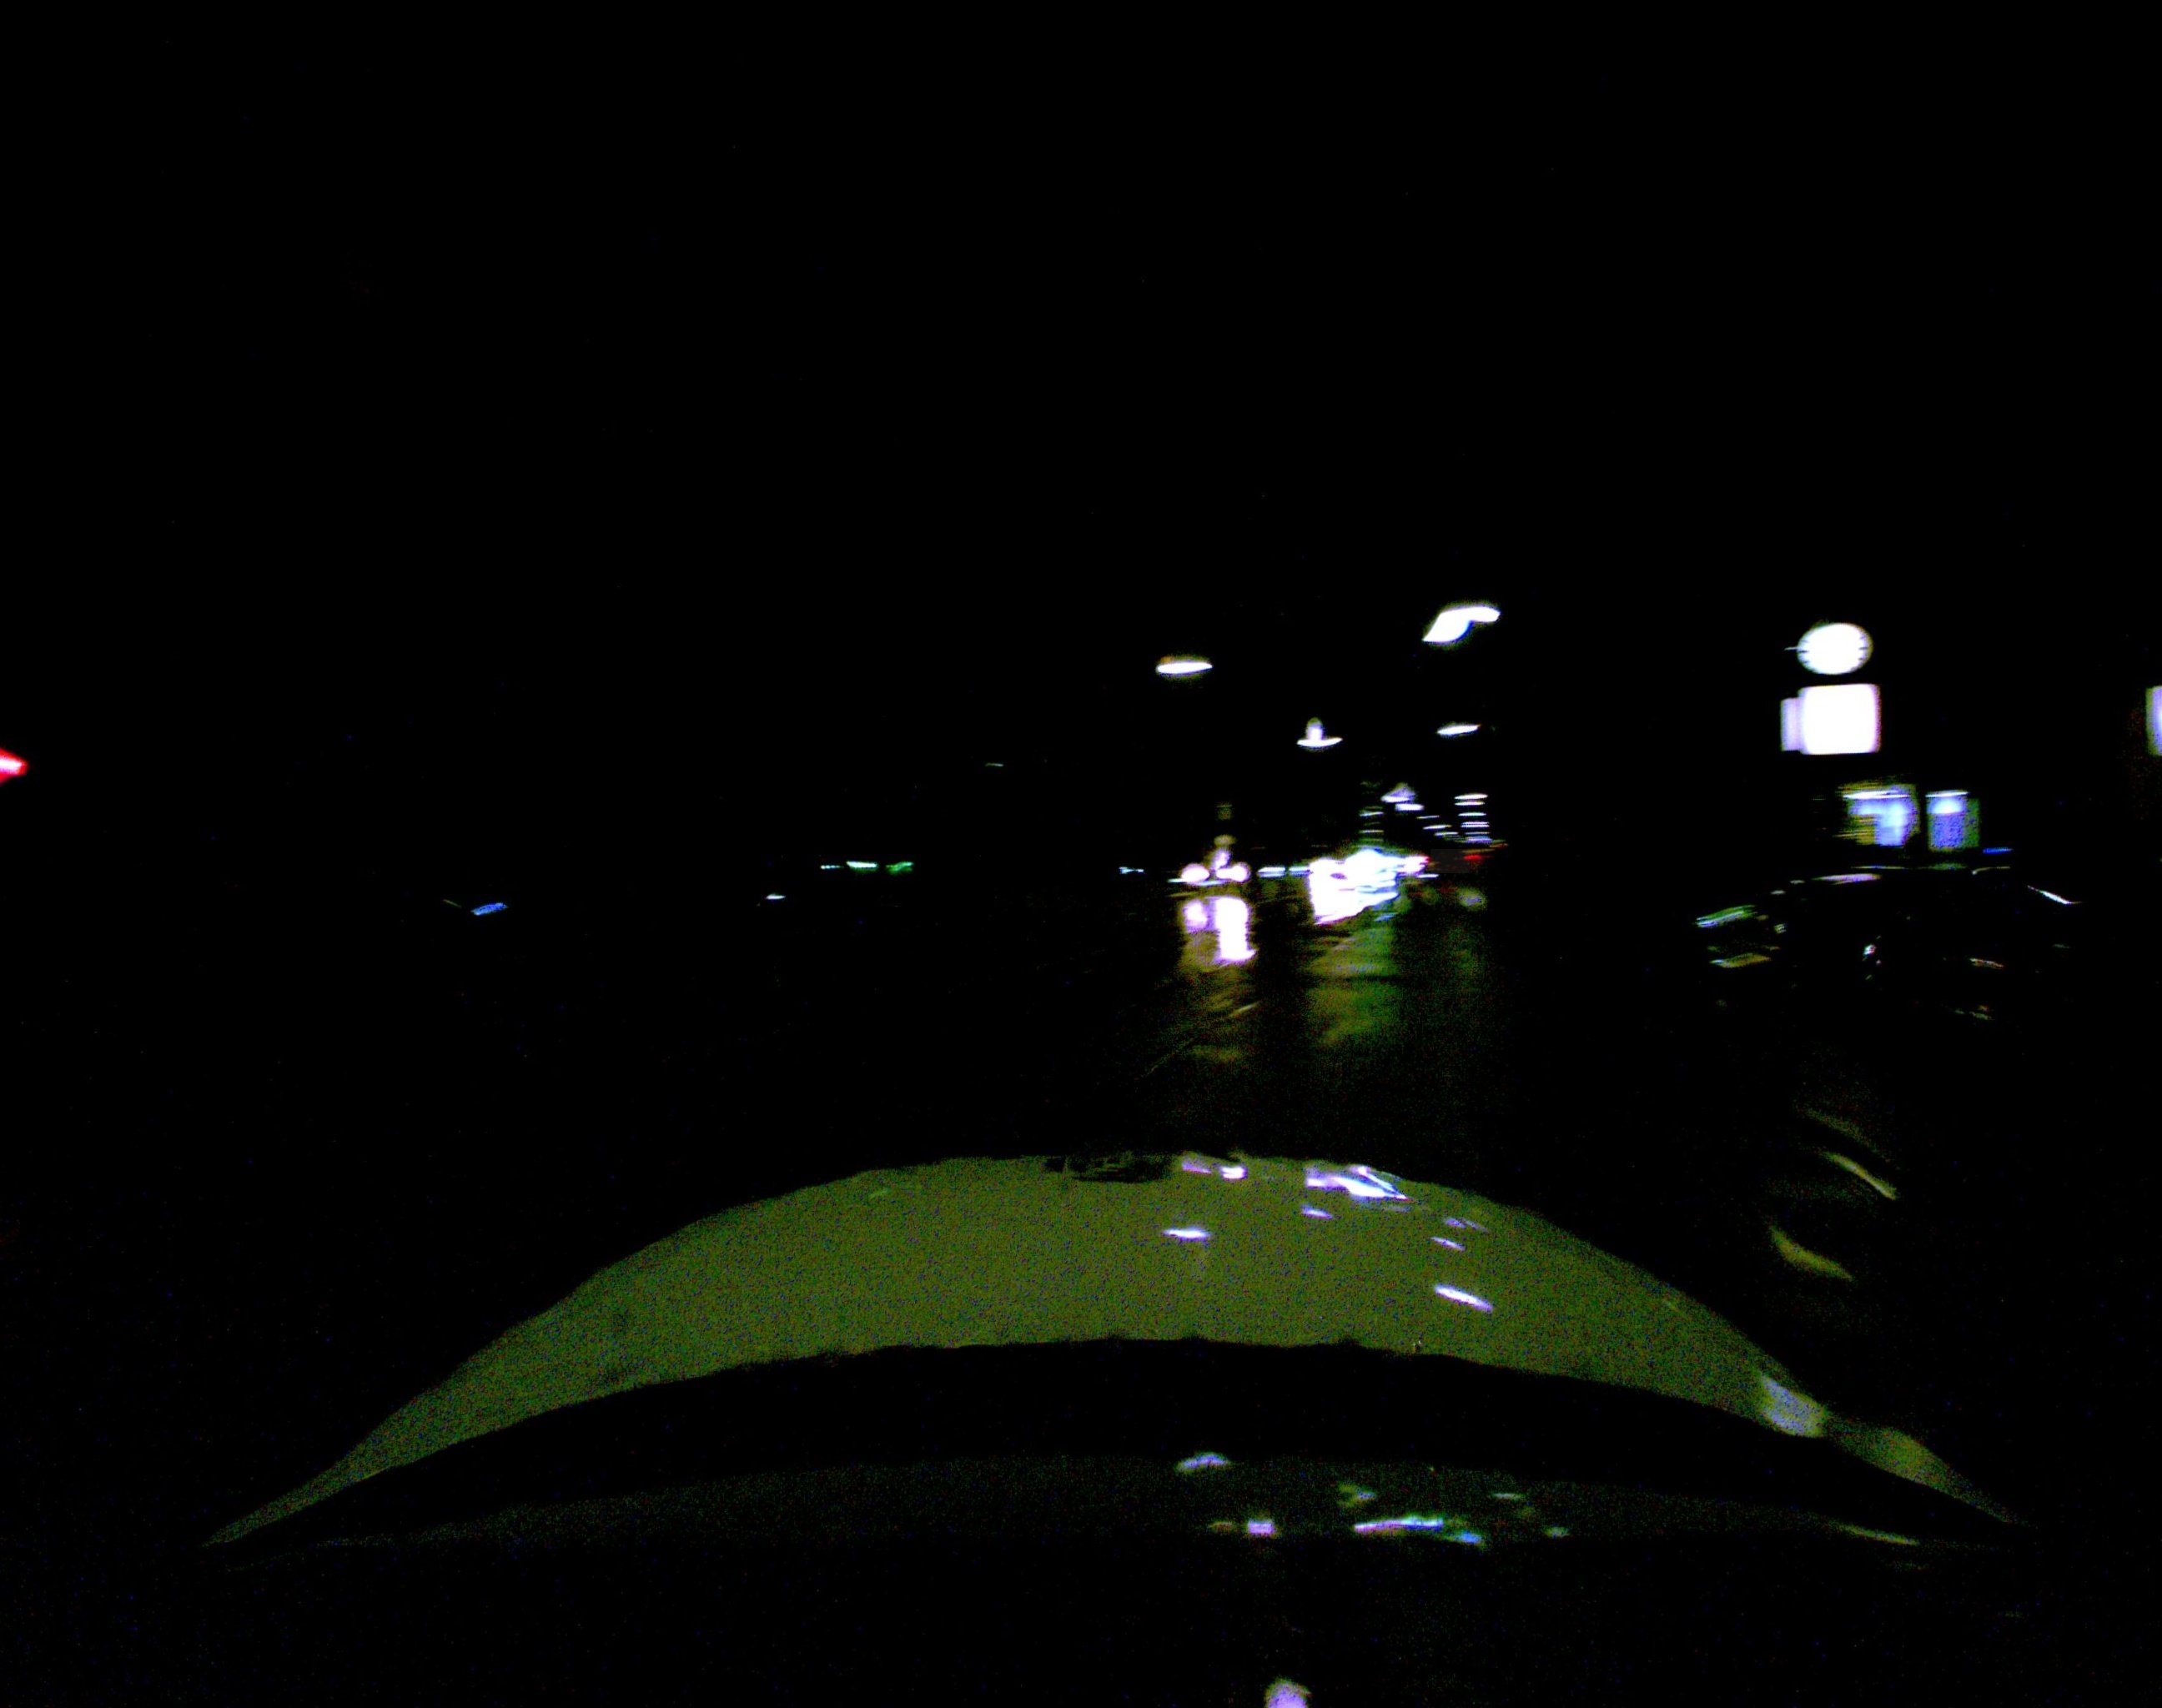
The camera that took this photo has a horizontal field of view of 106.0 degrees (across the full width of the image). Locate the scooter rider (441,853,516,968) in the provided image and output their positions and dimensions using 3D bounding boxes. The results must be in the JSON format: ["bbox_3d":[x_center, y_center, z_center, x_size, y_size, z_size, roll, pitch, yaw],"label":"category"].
[{"bbox_3d":[-8.701,0.796,11.761,0.634,1.573,0.656,2,-1,37],"label":"scooter rider"}]

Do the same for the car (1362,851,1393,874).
[{"bbox_3d":[25.102,0.715,68.867,1.908,1.879,4.665,-2,-1,27],"label":"car"}]

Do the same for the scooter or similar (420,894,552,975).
[{"bbox_3d":[-8.613,1.130,11.831,0.634,1.052,1.377,2,0,37],"label":"scooter or similar"}]

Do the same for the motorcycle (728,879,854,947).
[{"bbox_3d":[-5.761,1.146,16.340,0.701,1.230,2.340,-3,-3,40],"label":"motorcycle"}]

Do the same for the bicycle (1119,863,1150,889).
[{"bbox_3d":[2.473,1.000,37.339,0.648,1.141,1.909,2,0,29],"label":"bicycle"}]

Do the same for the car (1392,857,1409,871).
[{"bbox_3d":[34.694,1.104,88.363,1.637,1.479,4.228,-2,-1,23],"label":"car"}]

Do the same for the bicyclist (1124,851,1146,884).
[{"bbox_3d":[2.485,0.639,37.341,0.648,1.465,0.873,2,-1,29],"label":"bicyclist"}]

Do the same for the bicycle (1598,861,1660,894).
[{"bbox_3d":[20.437,0.891,30.418,1.797,1.164,0.495,-3,-3,24],"label":"bicycle"}]

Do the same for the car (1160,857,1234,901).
[{"bbox_3d":[5.703,1.156,39.481,1.976,1.825,5.340,3,2,25],"label":"car"}]

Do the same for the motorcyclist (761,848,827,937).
[{"bbox_3d":[-5.751,0.760,16.344,0.701,1.731,1.035,-3,-3,40],"label":"motorcyclist"}]

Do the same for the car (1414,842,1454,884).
[{"bbox_3d":[22.423,0.552,51.613,2.197,2.441,5.414,1,0,24],"label":"car"}]

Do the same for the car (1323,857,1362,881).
[{"bbox_3d":[16.762,0.947,52.119,1.776,1.464,3.924,0,0,26],"label":"car"}]

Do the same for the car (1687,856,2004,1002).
[{"bbox_3d":[9.179,0.808,10.236,1.630,1.442,4.079,-5,-2,25],"label":"car"}]

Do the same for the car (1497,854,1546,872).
[{"bbox_3d":[39.461,0.807,72.962,3.786,1.458,1.760,2,0,-16],"label":"car"}]

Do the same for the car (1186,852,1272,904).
[{"bbox_3d":[5.822,0.901,31.694,1.877,1.869,4.564,-2,-2,29],"label":"car"}]

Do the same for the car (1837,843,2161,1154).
[{"bbox_3d":[7.008,0.735,5.525,1.632,1.525,3.601,-5,-2,25],"label":"car"}]
